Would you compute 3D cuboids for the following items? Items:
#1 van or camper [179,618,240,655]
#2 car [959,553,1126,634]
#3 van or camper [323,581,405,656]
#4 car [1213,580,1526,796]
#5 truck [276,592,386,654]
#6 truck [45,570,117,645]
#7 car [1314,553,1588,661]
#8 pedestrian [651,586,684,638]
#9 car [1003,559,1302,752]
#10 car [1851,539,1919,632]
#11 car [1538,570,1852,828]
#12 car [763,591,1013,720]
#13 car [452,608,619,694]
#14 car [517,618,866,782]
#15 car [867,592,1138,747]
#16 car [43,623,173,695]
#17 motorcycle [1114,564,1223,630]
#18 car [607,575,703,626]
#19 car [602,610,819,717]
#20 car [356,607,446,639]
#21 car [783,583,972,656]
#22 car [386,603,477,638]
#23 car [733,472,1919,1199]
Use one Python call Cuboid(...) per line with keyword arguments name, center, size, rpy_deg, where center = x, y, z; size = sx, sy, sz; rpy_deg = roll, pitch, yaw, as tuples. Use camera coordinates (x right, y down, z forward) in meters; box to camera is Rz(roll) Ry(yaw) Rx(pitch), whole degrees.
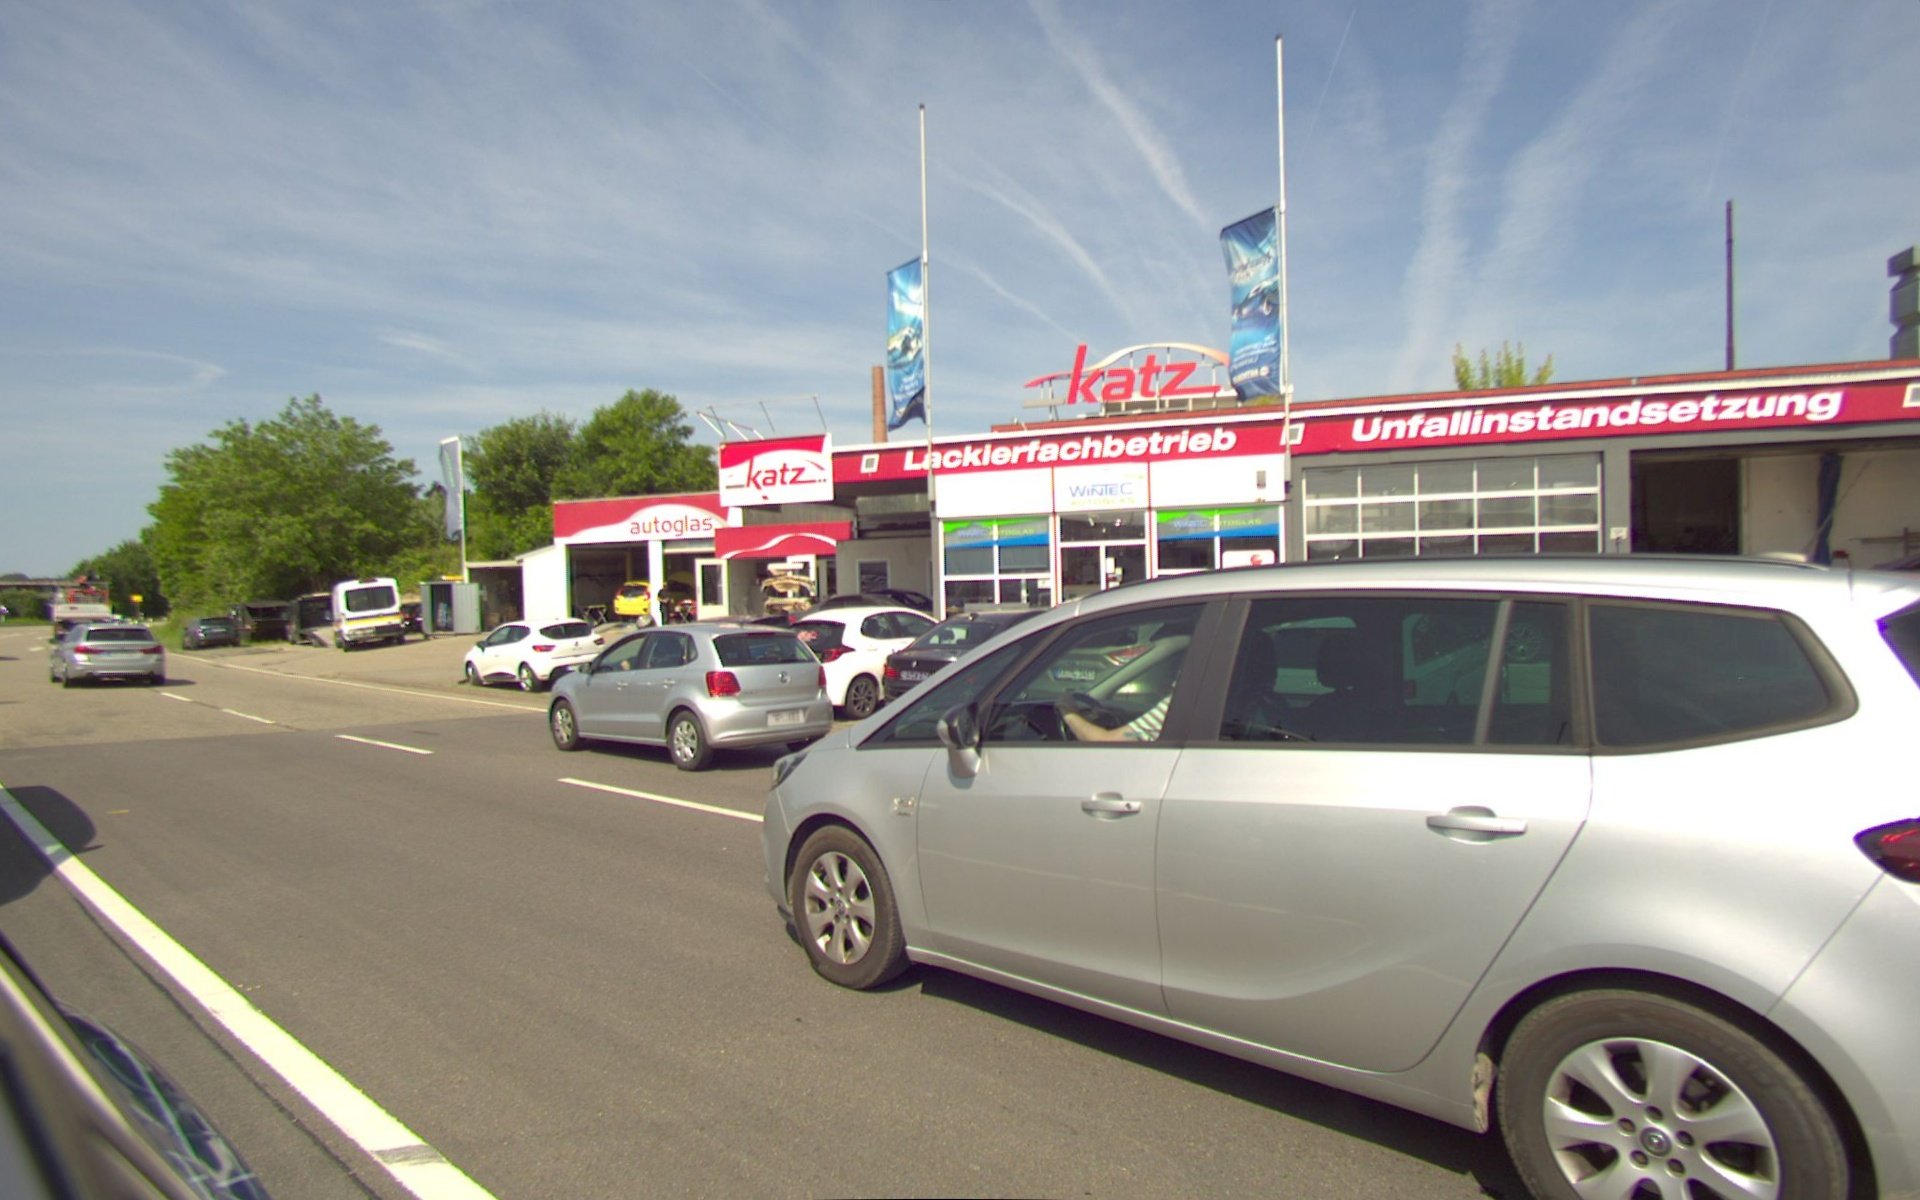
Cuboid(name="van or camper", center=(-34.362, 1.647, 46.285), size=(1.621, 1.535, 4.471), rpy_deg=(-2, 1, -44))
Cuboid(name="car", center=(2.019, -0.173, 24.399), size=(3.727, 1.772, 1.696), rpy_deg=(-2, 3, 16))
Cuboid(name="van or camper", center=(-22.855, 0.659, 38.682), size=(2.126, 2.517, 5.965), rpy_deg=(-5, 2, -35))
Cuboid(name="car", center=(4.365, 0.695, 10.369), size=(1.834, 1.495, 4.237), rpy_deg=(-2, 3, 38))
Cuboid(name="truck", center=(-27.937, 0.977, 44.732), size=(2.304, 2.313, 8.811), rpy_deg=(-7, 4, -43))
Cuboid(name="truck", center=(-53.953, 0.548, 61.996), size=(2.921, 4.241, 10.657), rpy_deg=(2, -2, -43))
Cuboid(name="car", center=(8.564, 0.090, 18.079), size=(4.090, 1.686, 1.819), rpy_deg=(0, 5, 16))
Cuboid(name="pedestrian", center=(-10.196, 0.420, 35.267), size=(0.895, 1.775, 0.714), rpy_deg=(0, 1, 44))
Cuboid(name="car", center=(2.424, 0.504, 12.002), size=(1.805, 1.729, 3.848), rpy_deg=(-1, 3, 40))
Cuboid(name="car", center=(19.150, -0.290, 18.430), size=(3.996, 1.685, 1.894), rpy_deg=(-1, -1, 28))
Cuboid(name="car", center=(6.547, 0.623, 8.896), size=(1.797, 1.495, 4.256), rpy_deg=(-1, 3, 40))
Cuboid(name="car", center=(-1.030, 0.776, 16.021), size=(1.844, 1.536, 3.760), rpy_deg=(-2, 3, 38))
Cuboid(name="car", center=(-9.168, 1.020, 21.716), size=(3.999, 1.630, 1.760), rpy_deg=(-1, 0, 42))
Cuboid(name="car", center=(-3.112, 0.961, 11.287), size=(4.079, 1.459, 1.817), rpy_deg=(-1, -1, 41))
Cuboid(name="car", center=(0.694, 0.801, 13.610), size=(1.790, 1.536, 3.673), rpy_deg=(-2, 3, 38))
Cuboid(name="car", center=(-20.742, 1.348, 24.569), size=(4.781, 1.533, 1.888), rpy_deg=(-1, -1, 43))
Cuboid(name="motorcycle", center=(4.197, -0.054, 20.369), size=(2.039, 1.271, 0.767), rpy_deg=(-1, -1, 20))
Cuboid(name="car", center=(-11.726, -0.026, 39.154), size=(1.725, 1.738, 3.650), rpy_deg=(-1, 3, 18))
Cuboid(name="car", center=(-4.384, 1.016, 17.520), size=(3.781, 1.505, 1.761), rpy_deg=(-1, 4, 42))
Cuboid(name="car", center=(-27.860, 1.129, 50.538), size=(1.729, 1.480, 3.642), rpy_deg=(-1, 0, 23))
Cuboid(name="car", center=(-2.082, 0.494, 25.710), size=(4.360, 1.516, 1.849), rpy_deg=(-3, 2, 19))
Cuboid(name="car", center=(-24.805, 0.939, 47.615), size=(1.725, 1.541, 3.650), rpy_deg=(-1, 0, 18))
Cuboid(name="car", center=(1.230, 0.647, 3.578), size=(4.179, 1.675, 1.889), rpy_deg=(-1, -2, 41))
